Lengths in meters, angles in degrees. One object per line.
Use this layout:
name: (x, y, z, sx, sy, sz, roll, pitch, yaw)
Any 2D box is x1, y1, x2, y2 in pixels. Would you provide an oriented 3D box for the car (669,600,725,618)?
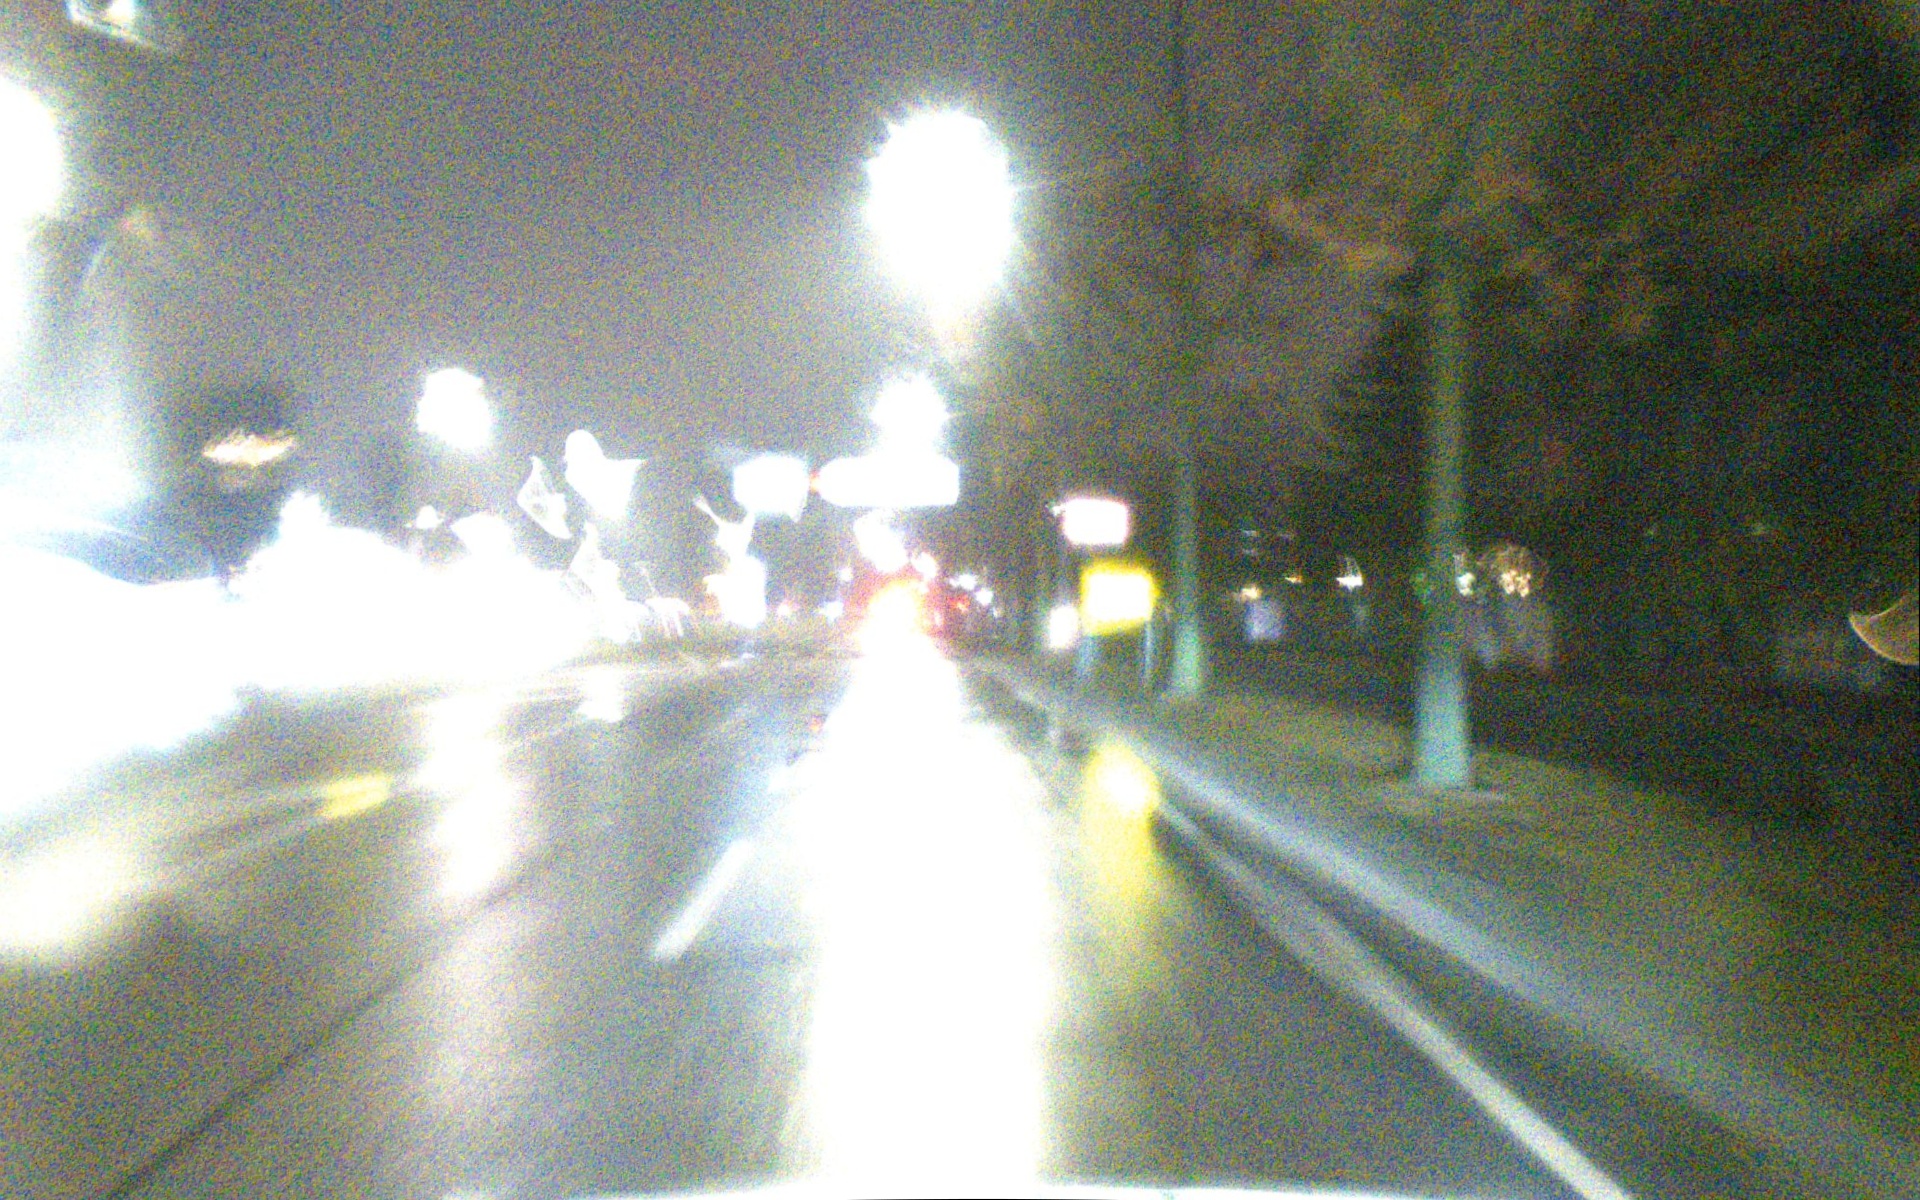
car: (-32.159, 1.132, 202.319, 6.220, 2.126, 2.493, 1, 0, -28)

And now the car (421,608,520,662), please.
car: (-14.955, 1.037, 50.743, 1.806, 1.512, 4.364, 1, 0, -1)

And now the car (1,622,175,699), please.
car: (-20.257, 1.368, 38.656, 1.806, 1.620, 4.364, 1, 0, -1)

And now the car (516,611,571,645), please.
car: (-22.614, 1.496, 89.927, 1.984, 1.713, 4.545, 1, 0, -3)

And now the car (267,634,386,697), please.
car: (-18.209, 1.855, 47.756, 1.806, 1.620, 4.364, 1, 0, -1)

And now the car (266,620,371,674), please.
car: (-21.055, 1.520, 54.481, 1.806, 1.620, 4.364, 1, 0, -1)
